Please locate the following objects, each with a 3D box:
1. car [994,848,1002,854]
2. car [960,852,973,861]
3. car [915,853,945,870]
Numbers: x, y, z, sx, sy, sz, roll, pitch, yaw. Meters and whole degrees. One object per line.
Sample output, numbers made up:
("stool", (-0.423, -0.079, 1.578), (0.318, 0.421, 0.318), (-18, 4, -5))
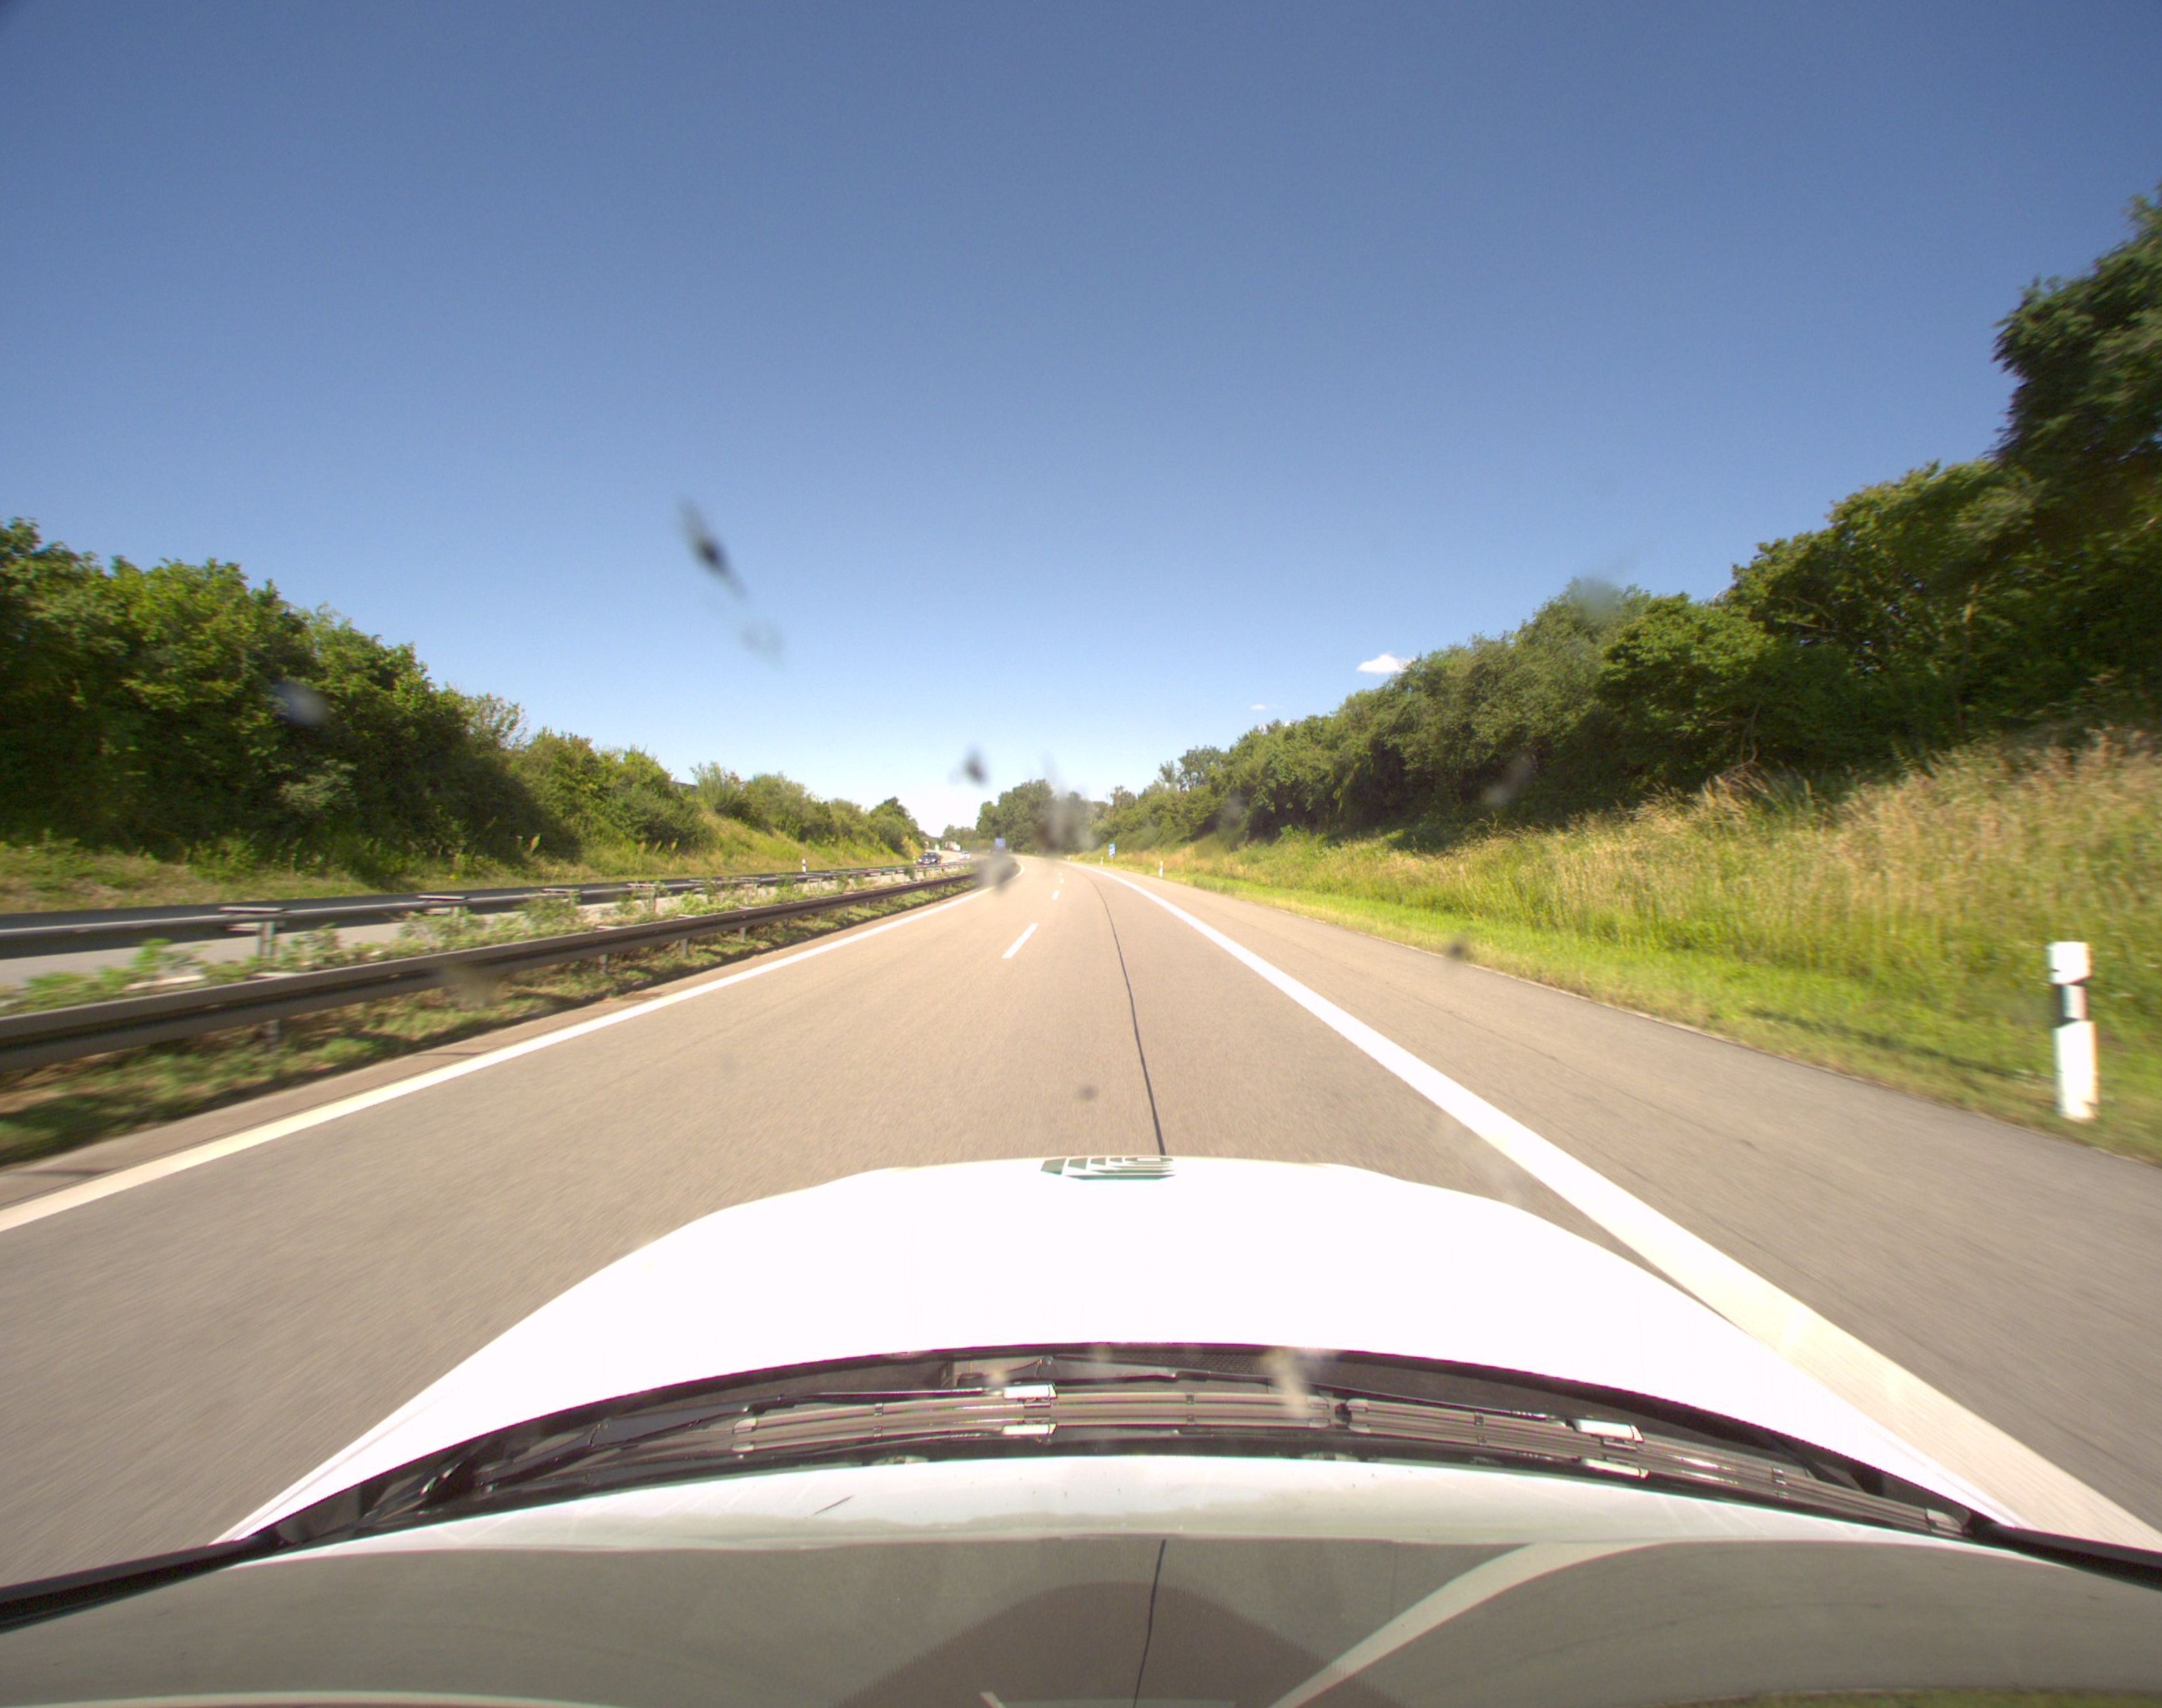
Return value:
("car", (-22.352, -0.789, 219.465), (2.061, 1.625, 3.988), (0, -2, -8))
("car", (-19.673, 0.445, 140.043), (1.895, 1.422, 4.394), (-1, 1, -3))
("car", (-15.007, 0.696, 81.142), (1.961, 1.564, 5.172), (-2, 0, -1))
